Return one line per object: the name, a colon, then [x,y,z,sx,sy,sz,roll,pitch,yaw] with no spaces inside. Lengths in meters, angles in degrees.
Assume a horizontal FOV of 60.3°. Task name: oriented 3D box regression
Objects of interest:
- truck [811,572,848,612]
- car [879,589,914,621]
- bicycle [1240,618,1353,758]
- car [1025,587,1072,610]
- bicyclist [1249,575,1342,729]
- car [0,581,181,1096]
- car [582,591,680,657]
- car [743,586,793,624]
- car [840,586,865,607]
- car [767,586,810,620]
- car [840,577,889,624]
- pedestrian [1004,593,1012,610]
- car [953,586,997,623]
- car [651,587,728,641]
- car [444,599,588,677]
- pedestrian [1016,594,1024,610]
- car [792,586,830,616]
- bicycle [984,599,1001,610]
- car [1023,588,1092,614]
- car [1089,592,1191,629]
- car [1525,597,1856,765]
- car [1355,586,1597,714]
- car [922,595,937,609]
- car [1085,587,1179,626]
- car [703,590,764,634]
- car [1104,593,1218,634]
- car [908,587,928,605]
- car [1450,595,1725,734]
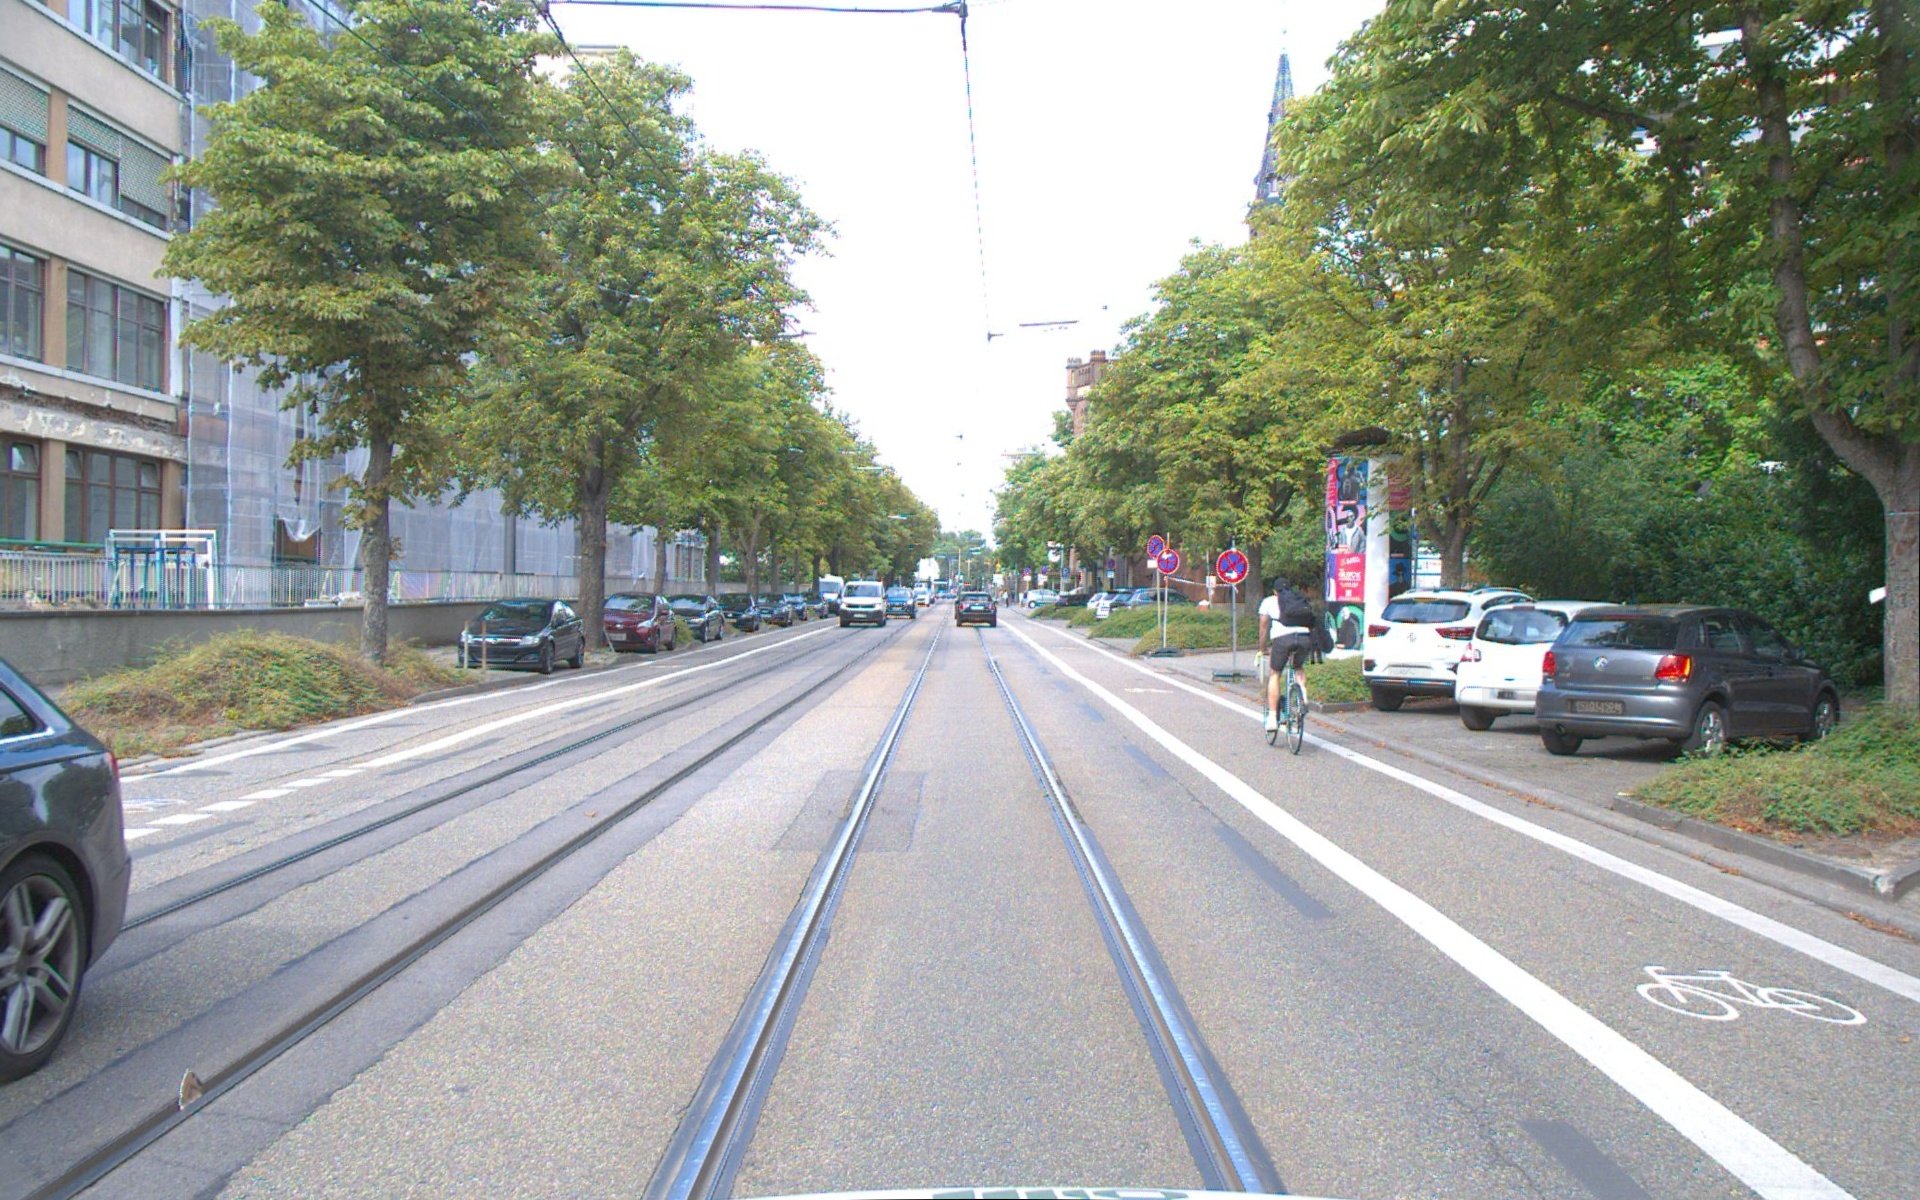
truck: [-8.344,-0.512,106.016,2.029,2.513,4.898,0,0,-1]
car: [-3.384,0.248,89.225,1.766,1.650,4.484,0,0,-1]
bicycle: [3.388,0.852,16.850,0.644,1.270,2.124,1,0,-1]
car: [7.765,-0.155,145.260,3.907,1.944,1.999,2,0,-3]
bicyclist: [3.399,0.505,16.841,0.644,1.489,1.178,1,0,-1]
car: [-3.624,0.680,3.534,1.797,1.473,4.553,1,0,-1]
car: [-8.433,0.575,42.742,1.766,1.611,4.030,0,0,-1]
car: [-8.388,0.211,72.582,1.766,1.611,4.030,0,0,-1]
car: [-8.547,-0.291,131.664,1.766,1.611,4.030,0,0,-1]
car: [-8.435,0.134,81.597,1.766,1.611,4.030,0,0,-1]
car: [-3.900,0.029,68.128,1.766,1.855,4.484,0,0,-1]
pedestrian: [4.869,0.174,167.151,0.711,1.674,0.767,2,0,10]
car: [0.625,0.173,70.488,1.757,1.448,3.999,1,0,-1]
car: [-8.396,0.417,51.613,1.766,1.611,4.030,0,0,-1]
car: [-8.587,0.696,32.348,1.766,1.398,4.030,0,0,-1]
pedestrian: [6.038,0.206,167.070,0.711,1.674,0.767,2,0,10]
car: [-8.346,0.034,92.948,1.766,1.611,4.030,0,0,-1]
bicycle: [3.293,0.457,167.224,1.684,1.009,0.659,2,0,8]
car: [5.837,0.052,99.064,3.907,1.534,1.884,1,0,-3]
car: [7.394,0.427,68.039,3.907,1.449,1.884,1,0,-3]
car: [7.277,0.732,16.374,3.501,1.468,1.601,1,0,-39]
car: [7.064,0.634,22.523,3.414,1.600,1.538,1,0,-39]
car: [-3.577,0.241,193.486,1.766,1.650,4.484,0,0,-1]
car: [7.615,0.280,73.444,3.907,1.656,1.884,1,0,-3]
car: [-8.497,0.423,62.346,1.766,1.611,4.030,0,0,-1]
car: [7.397,0.491,61.137,3.907,1.449,1.884,1,0,-3]
car: [-3.907,-0.352,154.253,1.766,1.650,4.484,0,0,-1]
car: [7.414,0.705,19.426,3.414,1.468,1.538,1,0,-39]
